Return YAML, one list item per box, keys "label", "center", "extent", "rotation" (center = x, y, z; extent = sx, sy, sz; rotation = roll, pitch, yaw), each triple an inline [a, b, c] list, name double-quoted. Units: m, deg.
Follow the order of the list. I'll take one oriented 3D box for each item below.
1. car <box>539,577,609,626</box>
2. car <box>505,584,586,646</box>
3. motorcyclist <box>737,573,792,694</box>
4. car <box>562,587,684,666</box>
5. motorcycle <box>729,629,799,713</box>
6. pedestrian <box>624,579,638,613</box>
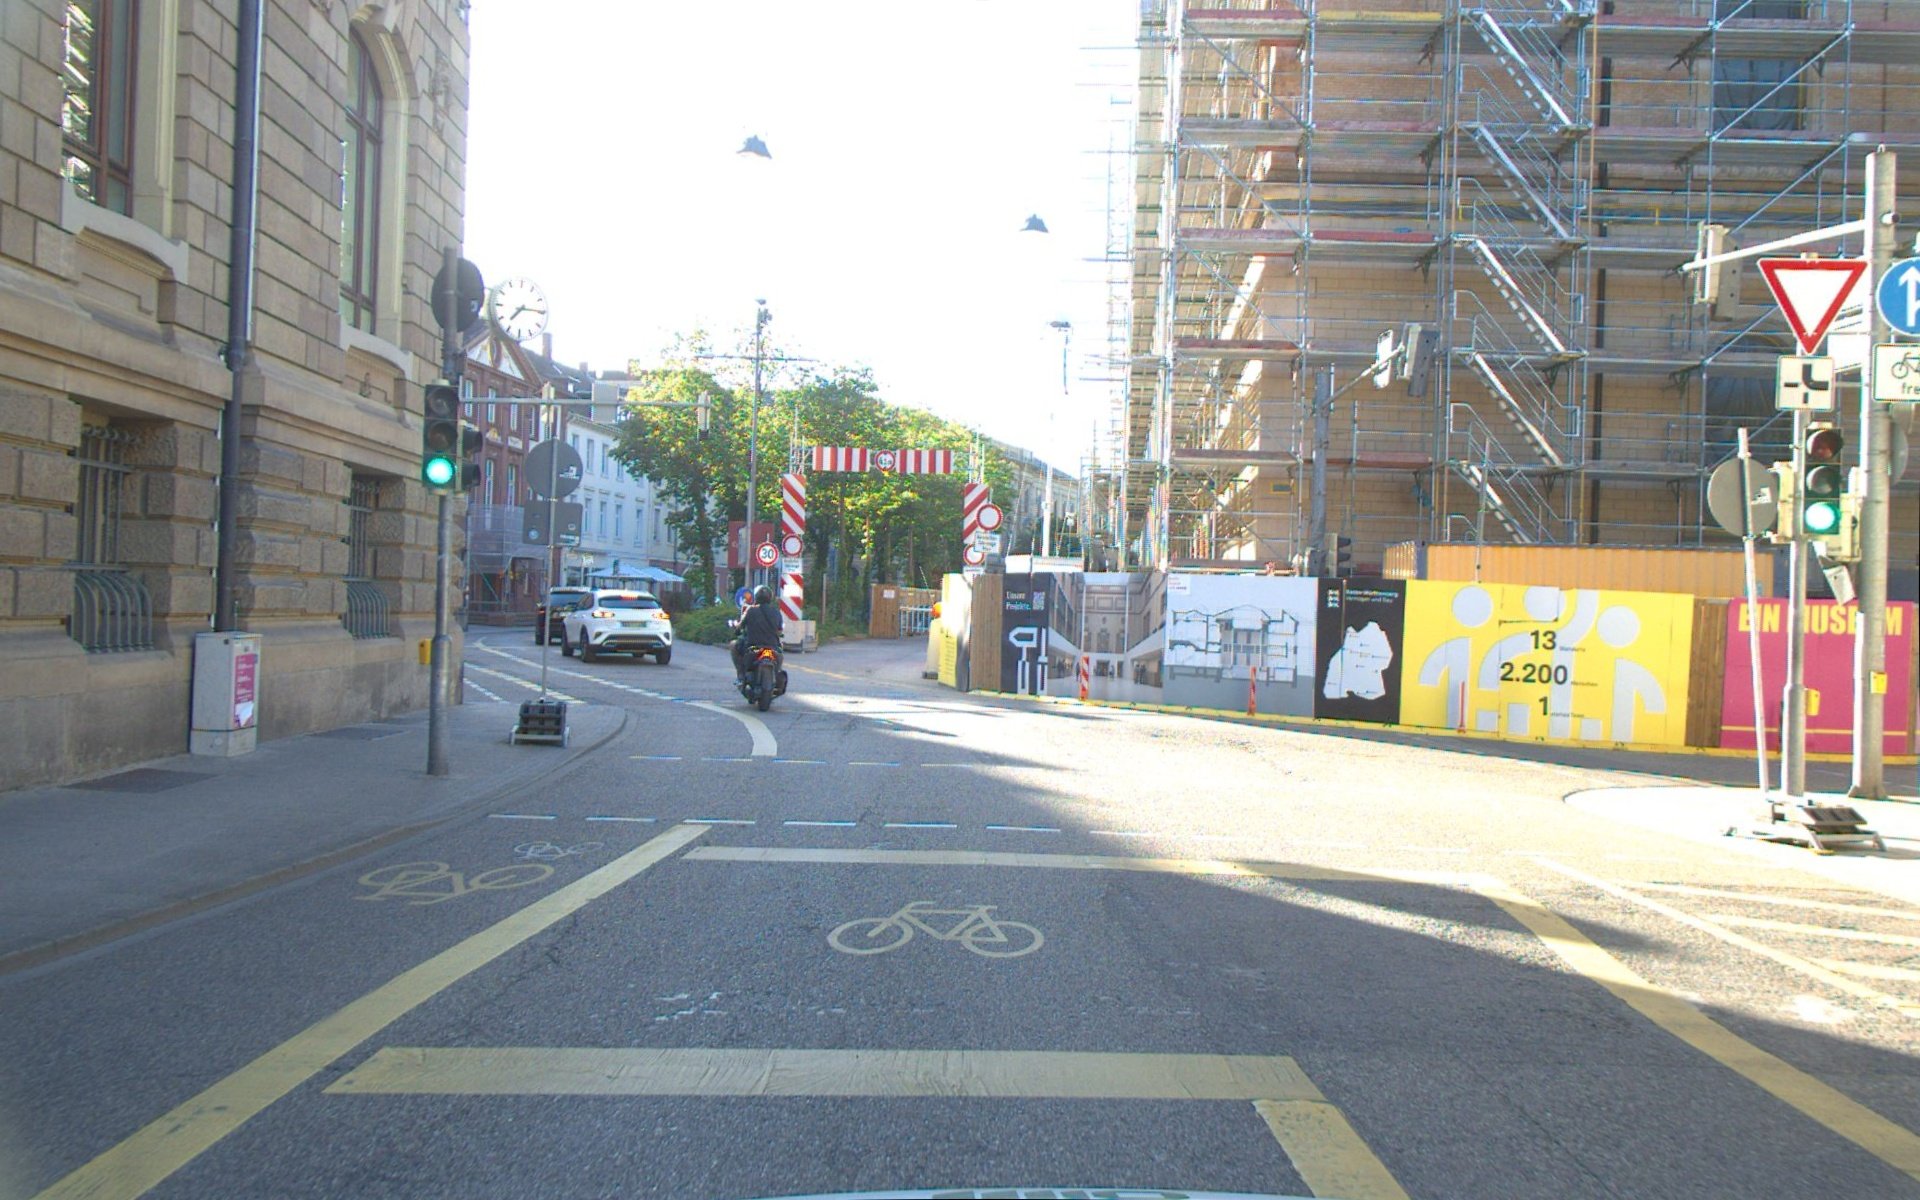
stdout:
- label: "car"
  center: [-14.664, 0.065, 62.965]
  extent: [1.803, 1.743, 4.055]
  rotation: [2, 0, -3]
- label: "car"
  center: [-11.021, 0.377, 43.834]
  extent: [1.811, 1.489, 4.038]
  rotation: [2, 0, -18]
- label: "motorcyclist"
  center: [-2.787, 0.476, 23.538]
  extent: [0.646, 1.679, 0.648]
  rotation: [2, 0, -13]
- label: "car"
  center: [-7.215, 0.524, 35.162]
  extent: [1.825, 1.506, 4.031]
  rotation: [2, 0, -22]
- label: "motorcycle"
  center: [-2.796, 0.992, 23.471]
  extent: [0.783, 1.085, 1.719]
  rotation: [2, 0, -13]
- label: "pedestrian"
  center: [-17.456, -0.196, 87.669]
  extent: [0.428, 1.806, 0.597]
  rotation: [1, -1, 19]
